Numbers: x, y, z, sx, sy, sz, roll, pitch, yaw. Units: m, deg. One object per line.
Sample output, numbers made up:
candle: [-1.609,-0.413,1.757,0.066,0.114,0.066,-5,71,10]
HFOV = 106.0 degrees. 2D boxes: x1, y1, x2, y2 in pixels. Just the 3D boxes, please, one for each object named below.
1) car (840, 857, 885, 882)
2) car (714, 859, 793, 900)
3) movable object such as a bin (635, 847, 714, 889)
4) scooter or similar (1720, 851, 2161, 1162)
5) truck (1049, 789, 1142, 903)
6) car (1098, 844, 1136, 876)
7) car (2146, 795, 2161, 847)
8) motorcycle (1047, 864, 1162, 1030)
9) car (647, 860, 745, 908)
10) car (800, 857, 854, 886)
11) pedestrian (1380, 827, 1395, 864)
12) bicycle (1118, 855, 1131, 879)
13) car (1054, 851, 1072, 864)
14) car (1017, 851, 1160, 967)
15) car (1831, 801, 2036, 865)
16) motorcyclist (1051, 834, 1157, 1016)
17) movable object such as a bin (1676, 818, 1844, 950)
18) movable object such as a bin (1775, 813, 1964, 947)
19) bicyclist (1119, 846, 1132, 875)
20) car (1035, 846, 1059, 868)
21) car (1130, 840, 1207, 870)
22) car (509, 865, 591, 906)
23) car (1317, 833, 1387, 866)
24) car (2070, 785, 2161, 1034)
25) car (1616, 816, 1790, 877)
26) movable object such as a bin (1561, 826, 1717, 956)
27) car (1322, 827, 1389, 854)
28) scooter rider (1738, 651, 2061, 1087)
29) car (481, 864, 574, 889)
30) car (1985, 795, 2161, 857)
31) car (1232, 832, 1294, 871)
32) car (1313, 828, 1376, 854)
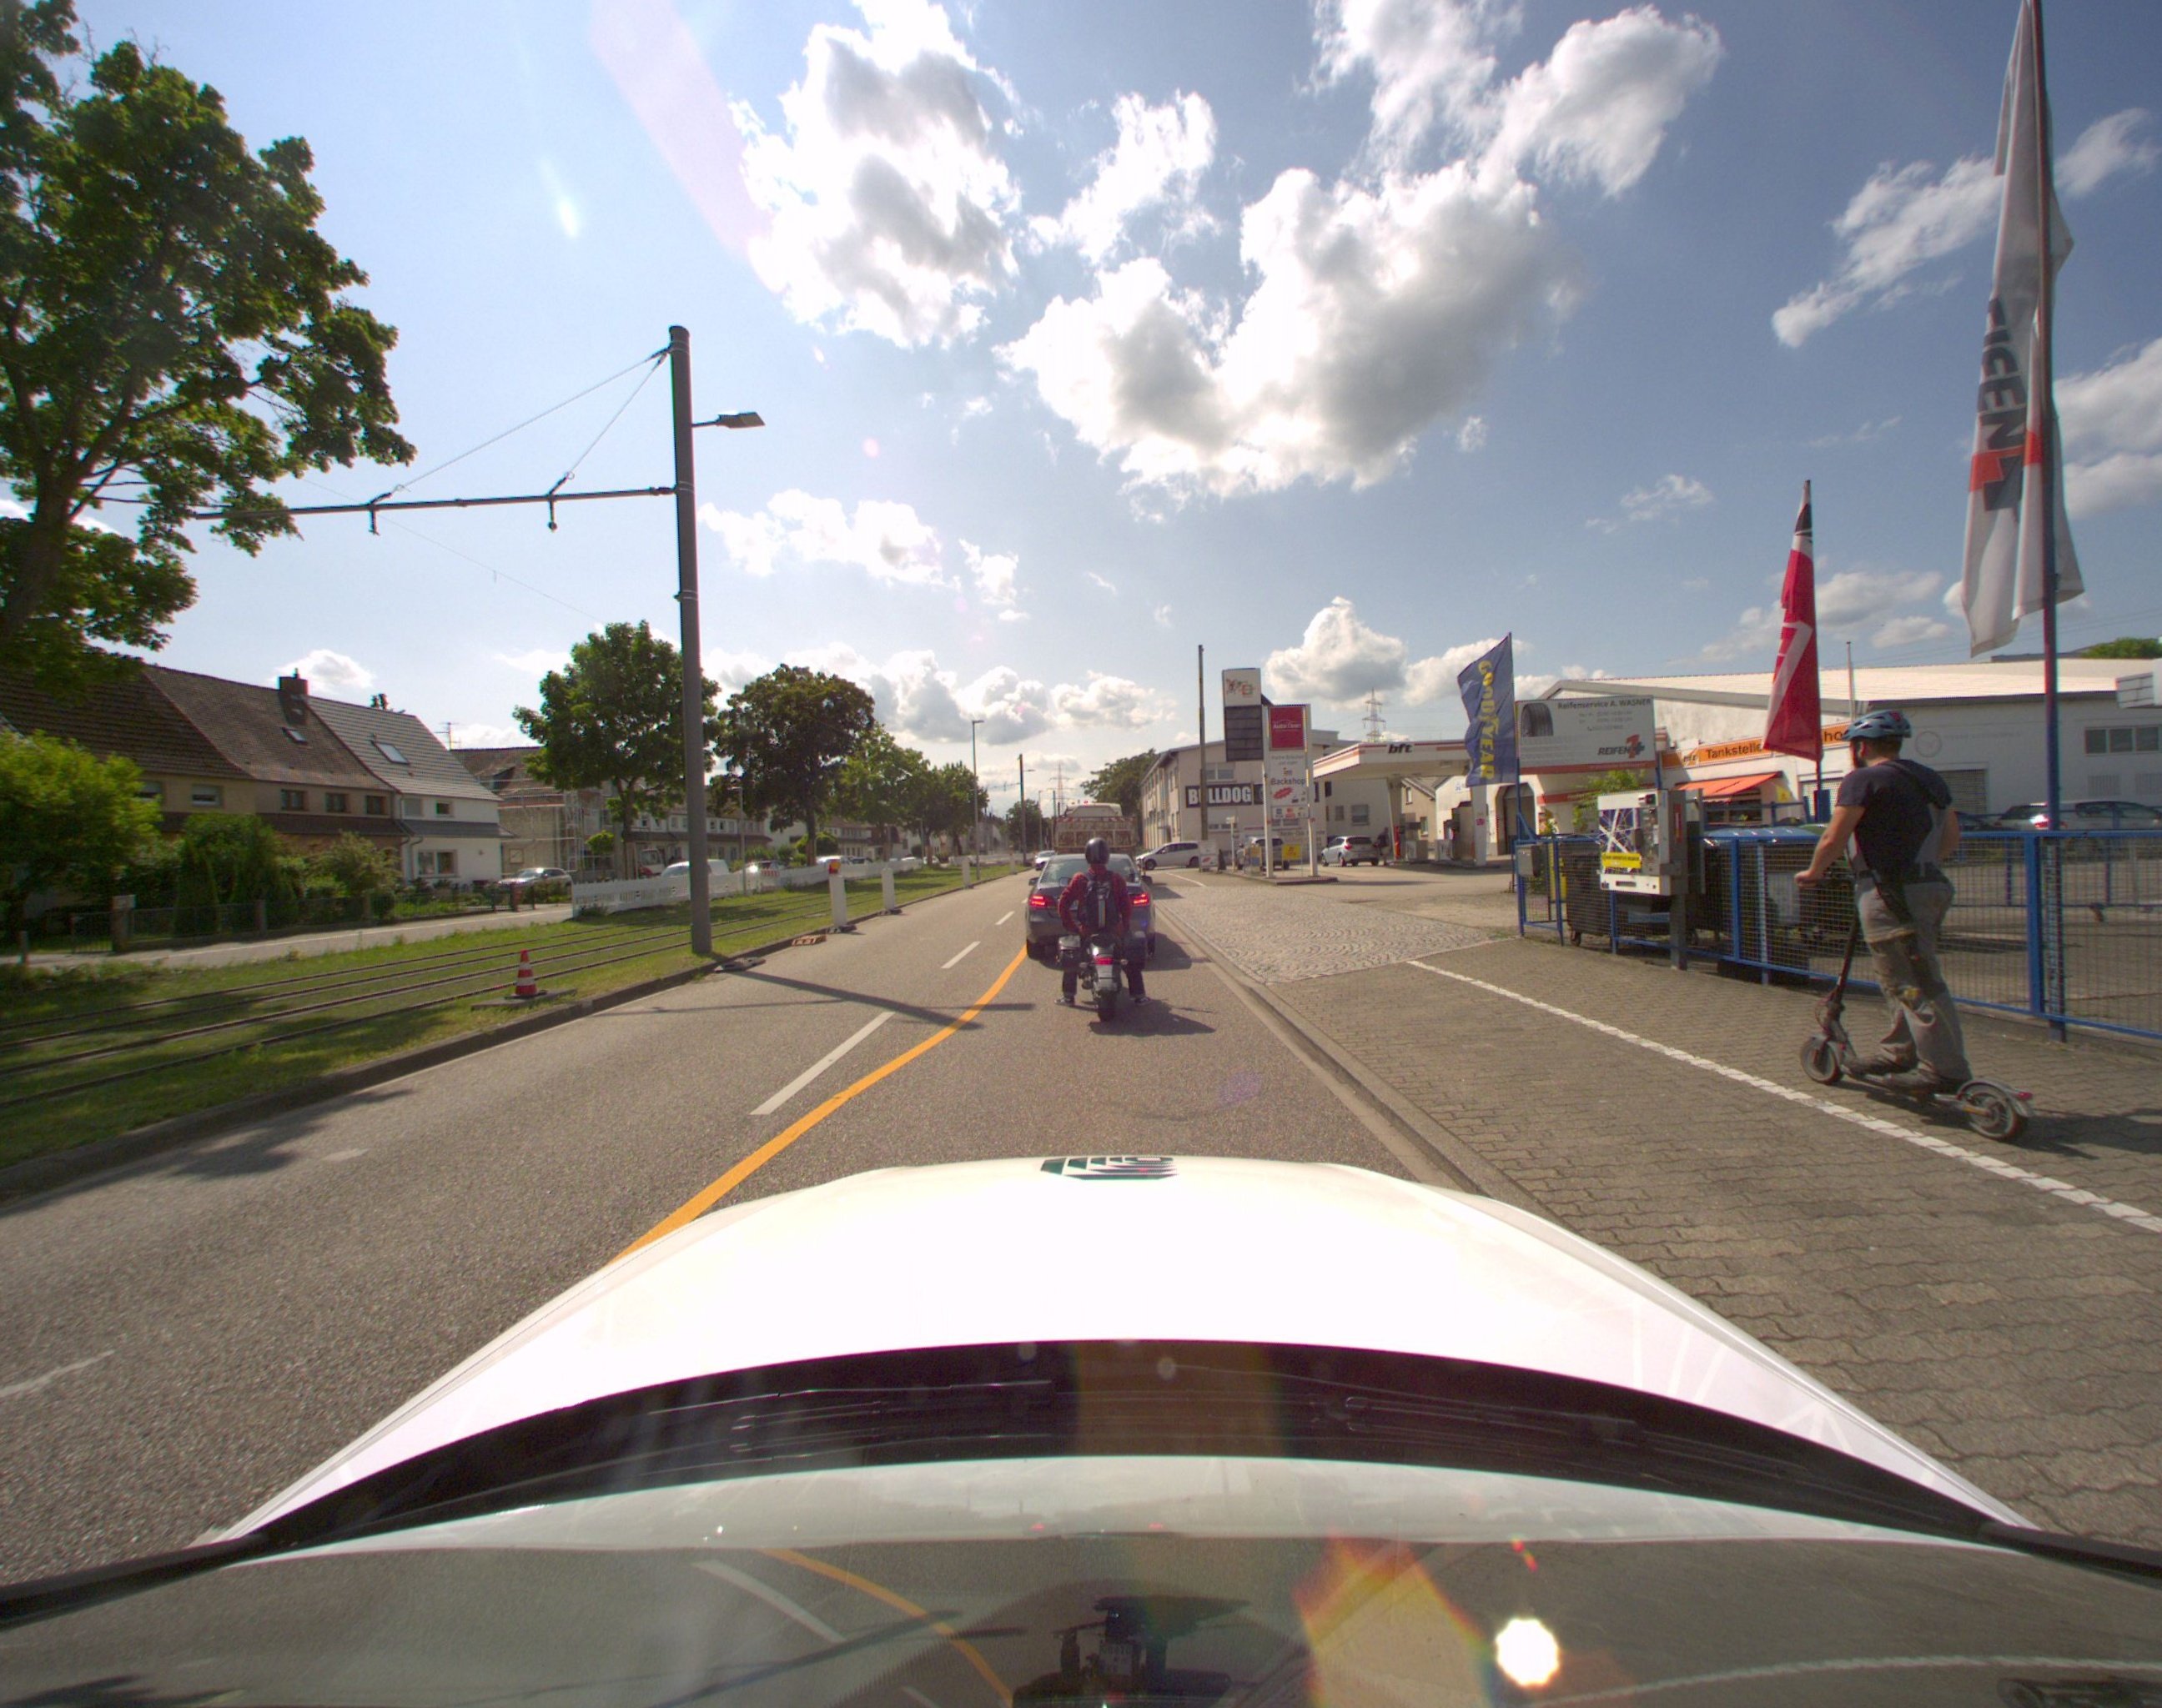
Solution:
car: [-15.532,1.053,58.119,1.986,1.606,4.001,-3,0,1]
car: [-15.620,1.164,39.094,1.986,1.750,4.001,-3,0,1]
movable object such as a bin: [-26.598,0.890,53.442,4.352,2.449,1.776,-3,0,-21]
scooter or similar: [4.105,0.606,4.038,0.539,1.195,1.611,-4,0,1]
truck: [0.570,-0.347,28.850,2.601,3.255,9.186,-3,1,2]
car: [1.804,0.278,41.703,1.815,1.464,4.002,-2,0,2]
car: [30.579,-0.994,21.119,3.648,1.388,1.613,-3,0,2]
motorcycle: [0.221,0.785,8.040,0.936,1.320,2.645,0,0,1]
car: [-15.790,1.178,33.648,1.986,1.750,4.001,-3,0,1]
car: [-15.679,1.031,50.473,1.986,1.606,4.001,-3,0,1]
pedestrian: [14.317,-0.378,38.042,0.395,1.689,0.485,-3,-1,2]
bicycle: [2.681,0.804,50.309,0.690,1.361,2.420,-3,0,2]
car: [-2.121,0.460,95.897,1.840,1.386,4.345,-3,0,1]
car: [0.138,0.706,12.516,1.815,1.424,4.001,-2,0,1]
car: [21.711,-0.514,20.846,3.483,1.360,1.612,-3,0,1]
motorcyclist: [0.219,0.632,7.859,0.936,1.615,1.205,0,0,1]
movable object such as a bin: [8.099,0.343,9.767,1.252,1.444,0.824,-3,0,1]
movable object such as a bin: [9.422,0.295,9.782,1.319,1.444,0.953,-3,0,-6]
bicyclist: [2.746,0.396,50.165,0.669,1.744,0.813,-2,0,0]
car: [-2.531,0.192,61.229,1.650,1.447,4.301,-3,1,-1]
car: [5.327,0.058,49.943,4.327,1.551,1.945,-3,0,-8]
car: [-24.744,1.424,38.058,1.679,1.721,3.031,-3,0,1]
car: [13.201,-0.206,39.919,1.953,1.420,3.998,-3,0,-1]
car: [8.013,0.238,3.820,3.955,1.442,1.719,-3,0,18]
car: [16.299,-0.193,21.465,3.309,1.360,1.612,-3,0,1]
movable object such as a bin: [6.732,0.427,9.888,1.252,1.444,0.824,-3,0,1]
car: [19.176,-0.934,56.975,3.974,1.648,1.965,-3,0,0]
scooter rider: [4.102,0.068,4.161,0.714,1.963,0.785,-5,0,1]
car: [-27.936,1.133,41.260,1.676,1.052,3.987,-3,0,6]
car: [26.223,-0.737,20.949,3.993,1.388,1.613,-3,0,2]
car: [8.689,-0.109,39.241,1.953,1.648,3.998,-3,0,-1]
car: [19.222,-0.918,59.520,3.974,1.648,1.965,-3,0,0]
